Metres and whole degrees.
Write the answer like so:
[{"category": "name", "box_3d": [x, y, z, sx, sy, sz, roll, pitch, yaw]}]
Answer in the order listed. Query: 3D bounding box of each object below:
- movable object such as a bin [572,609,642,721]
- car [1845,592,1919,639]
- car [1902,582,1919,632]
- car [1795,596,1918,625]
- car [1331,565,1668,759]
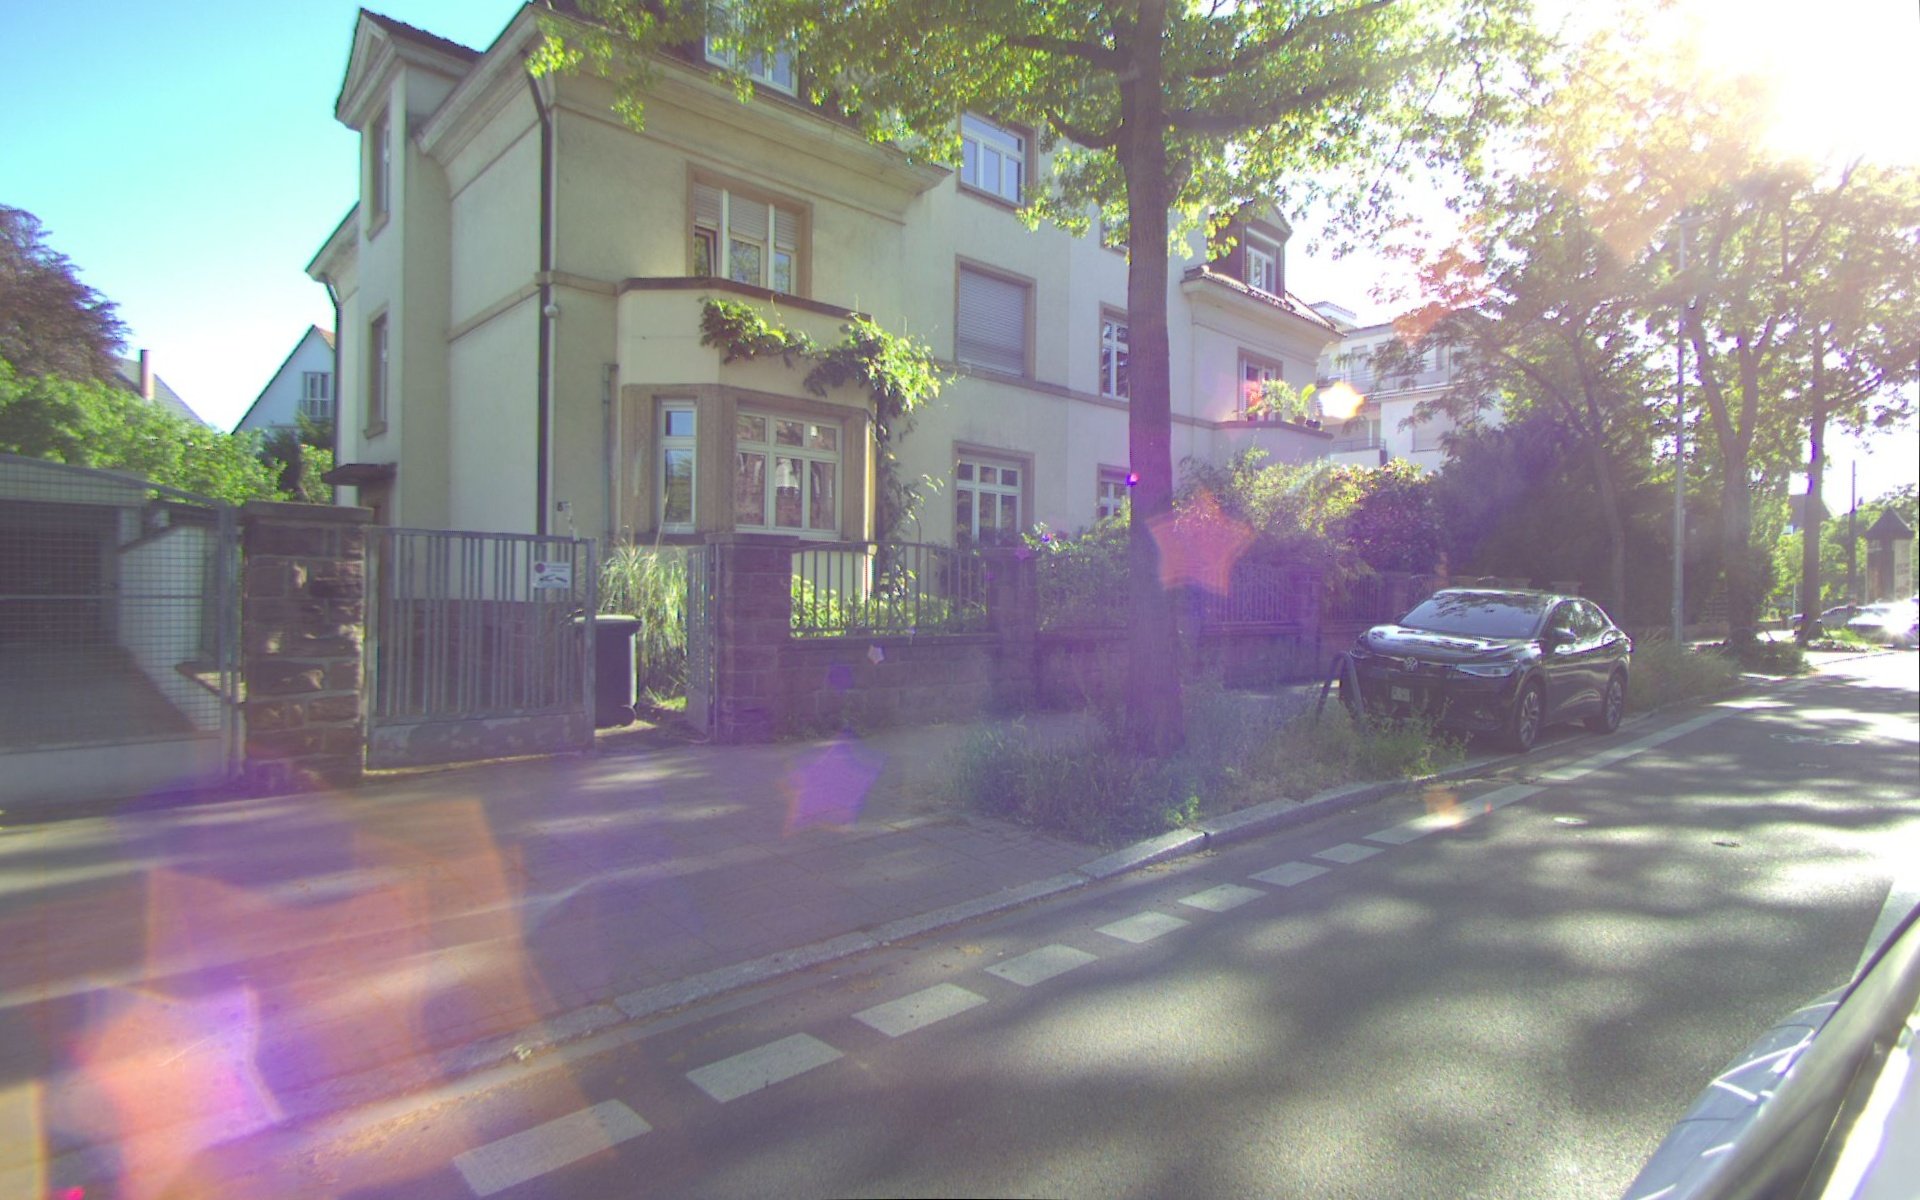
[{"category": "movable object such as a bin", "box_3d": [-3.536, 0.623, 10.123, 0.634, 1.060, 0.659, 0, 0, -21]}, {"category": "car", "box_3d": [31.311, 0.475, 33.704, 4.253, 1.440, 1.999, -1, 2, -38]}, {"category": "car", "box_3d": [36.256, 0.268, 36.906, 4.664, 1.768, 2.028, 0, 1, -37]}, {"category": "car", "box_3d": [46.395, 0.529, 52.458, 1.933, 1.386, 4.520, 0, 1, -39]}, {"category": "car", "box_3d": [6.320, 0.548, 11.600, 4.646, 1.714, 1.808, 0, 4, -41]}]
